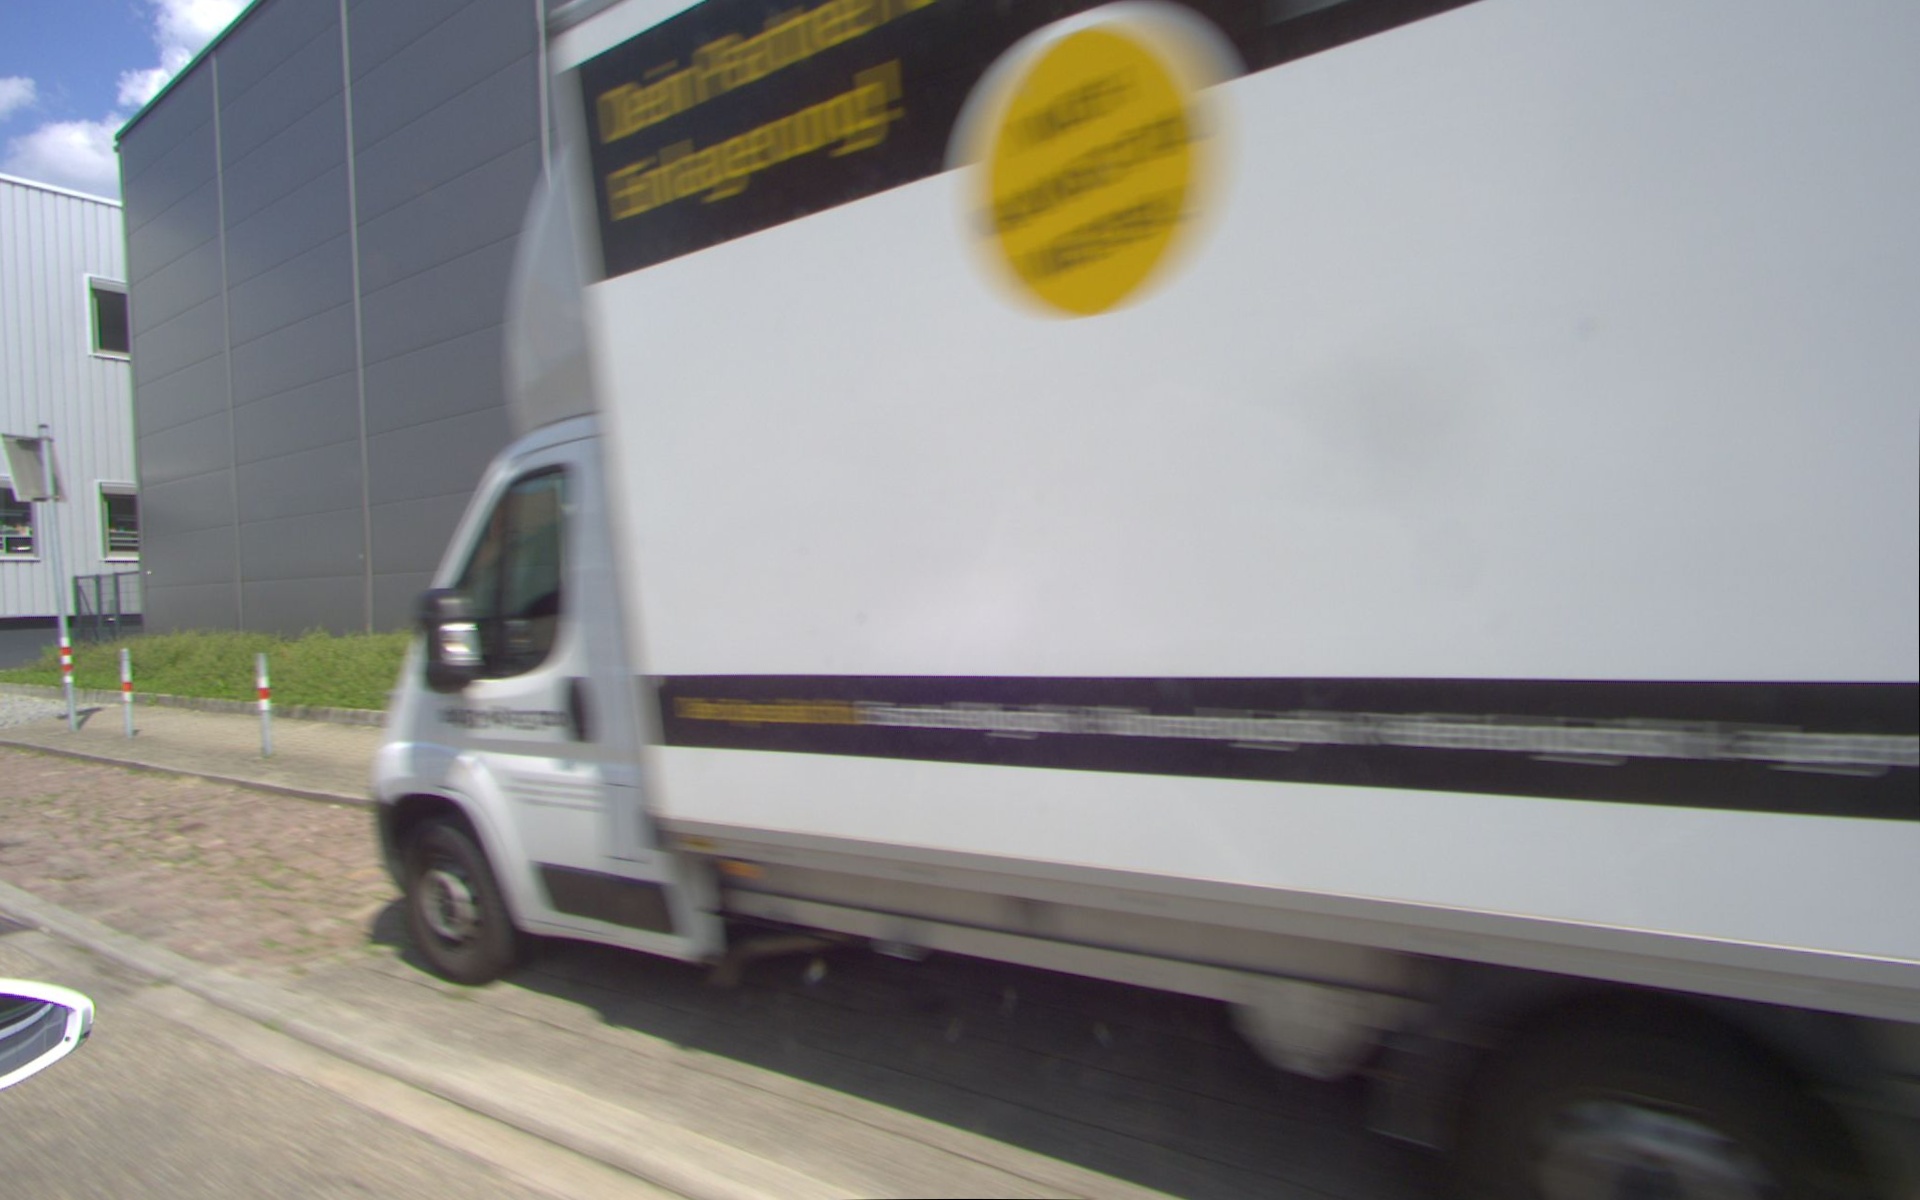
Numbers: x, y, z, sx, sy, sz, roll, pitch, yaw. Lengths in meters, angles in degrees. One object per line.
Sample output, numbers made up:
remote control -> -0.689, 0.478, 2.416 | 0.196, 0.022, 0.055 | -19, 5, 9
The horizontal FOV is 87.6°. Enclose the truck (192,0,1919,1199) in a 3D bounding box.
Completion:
truck -> 0.502, -0.326, 3.367 | 6.721, 3.341, 2.450 | -1, 6, 33
